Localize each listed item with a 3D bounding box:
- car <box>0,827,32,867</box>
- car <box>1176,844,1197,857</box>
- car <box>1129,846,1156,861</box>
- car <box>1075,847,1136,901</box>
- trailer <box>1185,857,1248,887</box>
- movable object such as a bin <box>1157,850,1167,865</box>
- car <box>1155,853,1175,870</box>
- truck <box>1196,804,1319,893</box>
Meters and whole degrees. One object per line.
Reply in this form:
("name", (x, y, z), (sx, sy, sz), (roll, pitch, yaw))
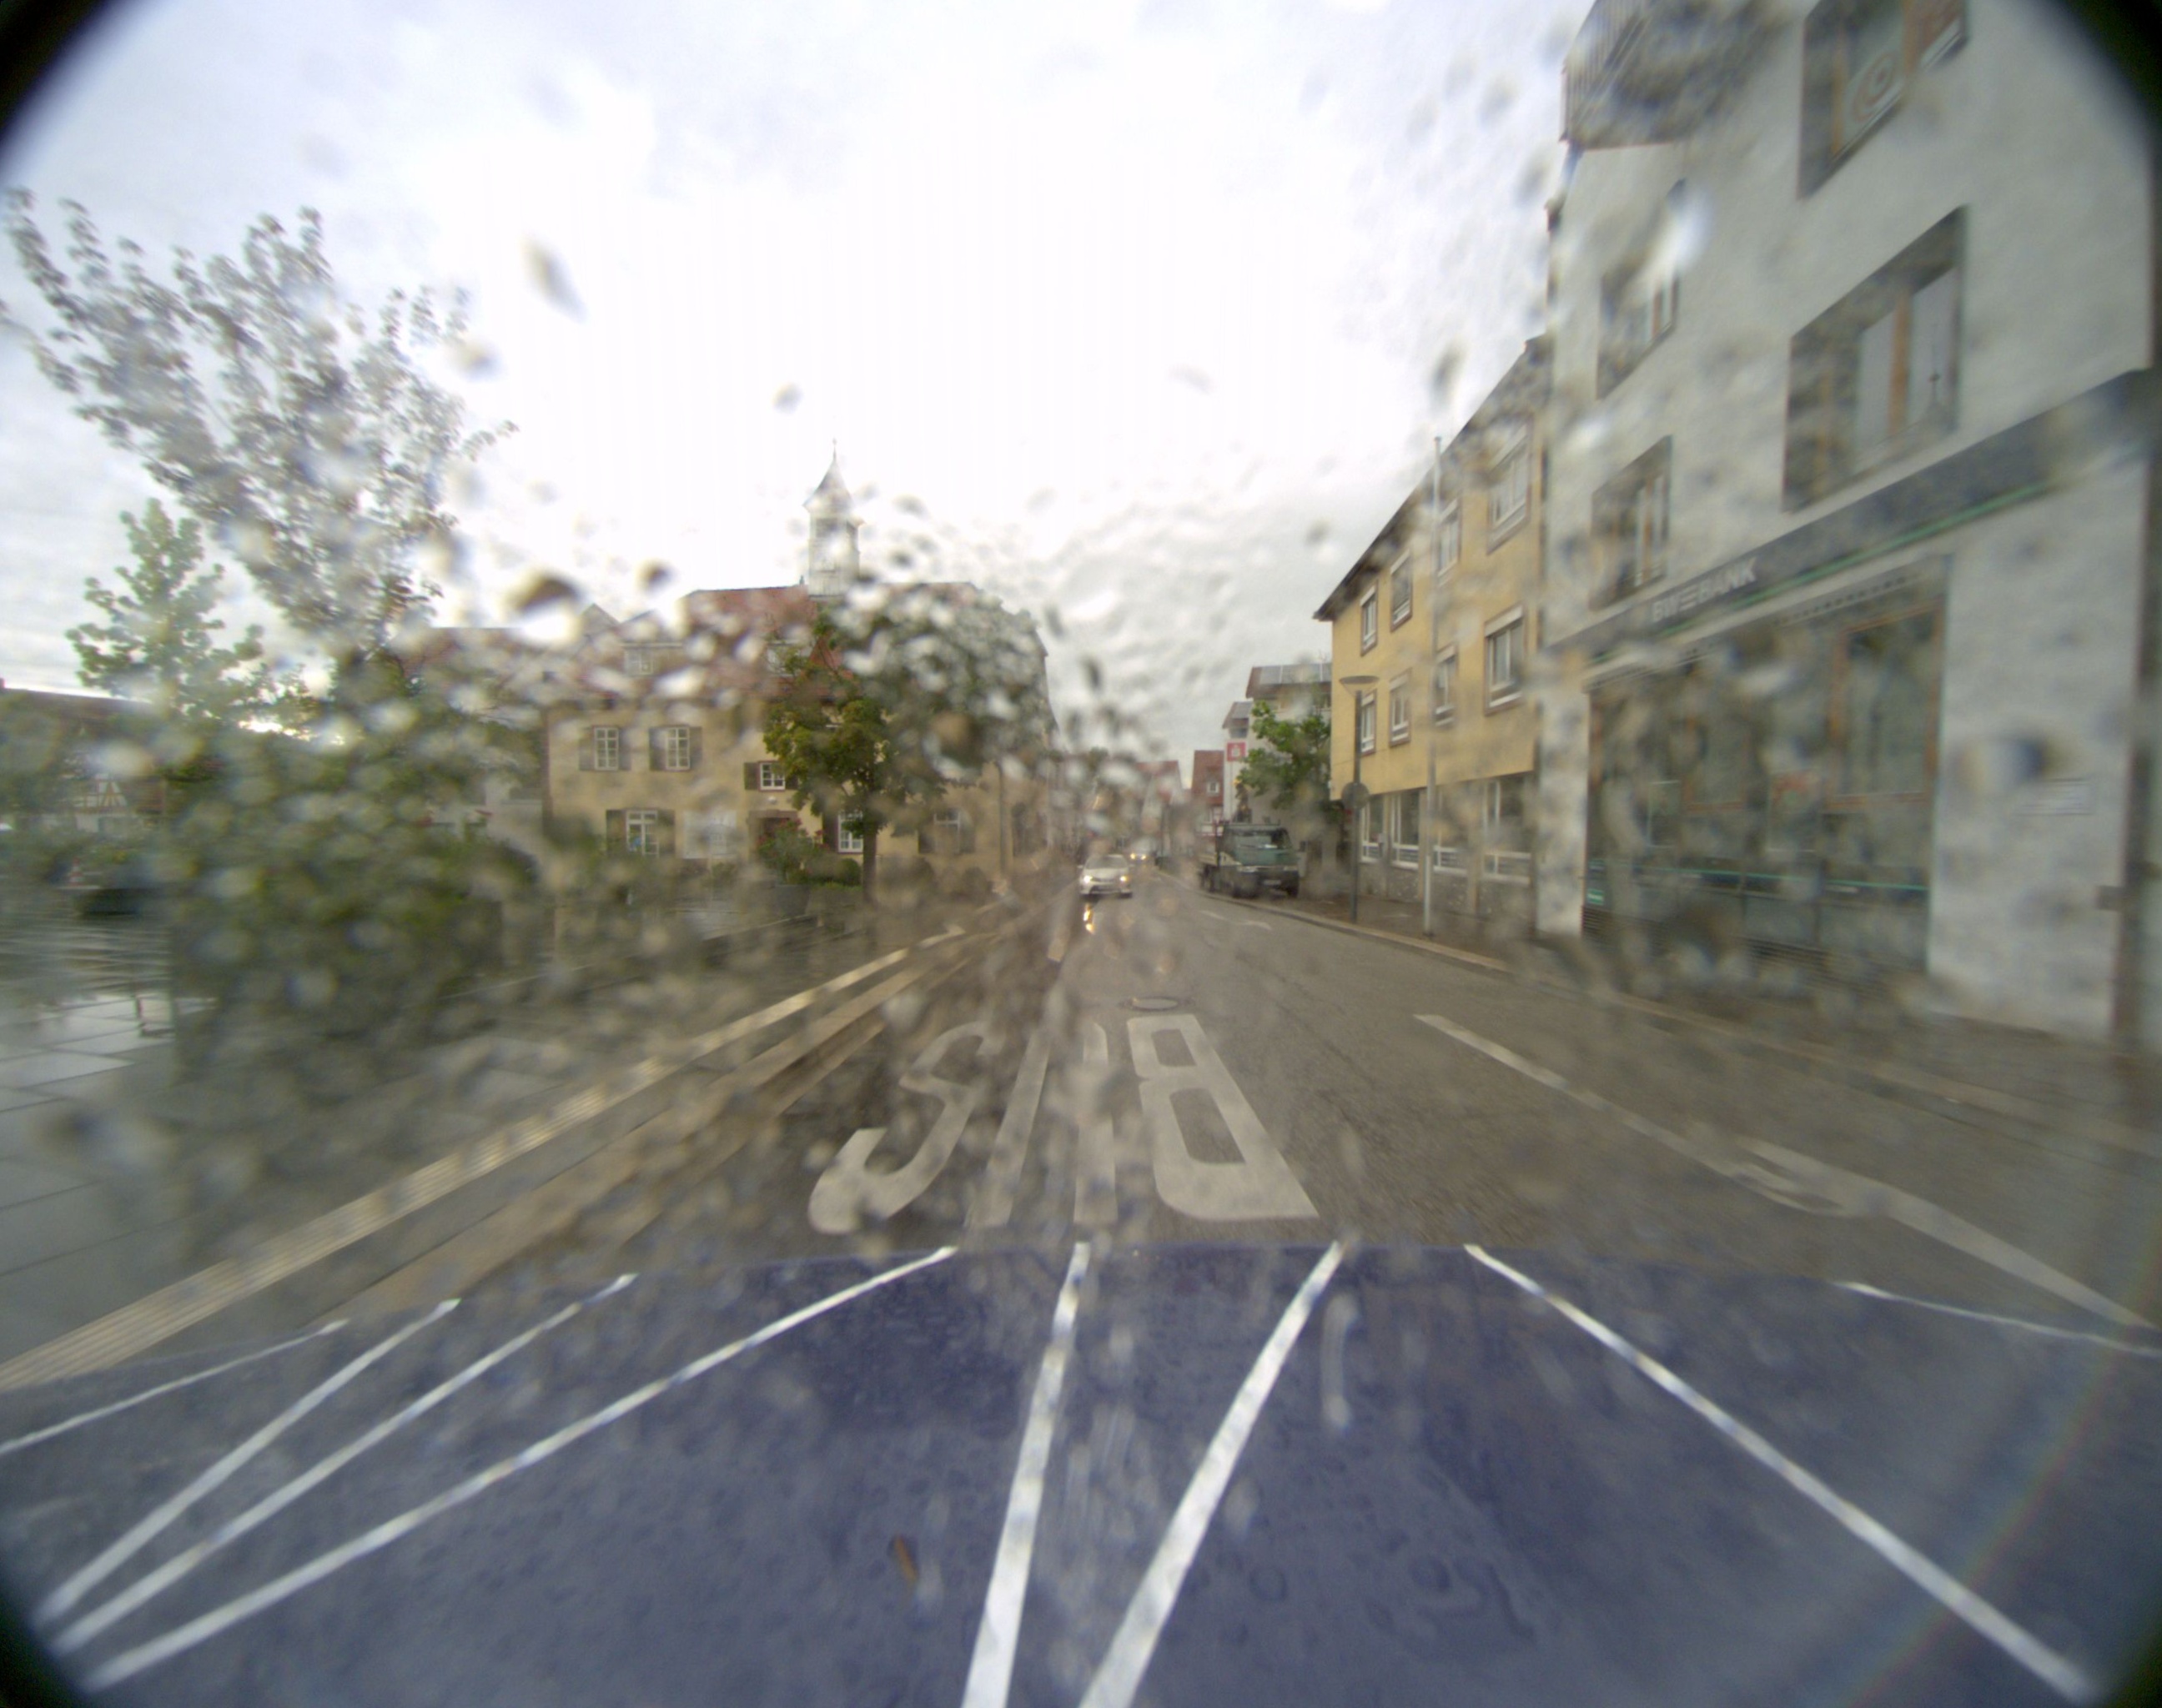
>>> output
("car", (-49.277, -0.285, 32.977), (1.716, 1.762, 4.003), (2, 2, 13))
("car", (12.164, -0.384, 87.444), (1.804, 1.434, 4.004), (0, 2, 18))
("car", (6.463, -0.090, 79.206), (1.865, 1.452, 4.005), (2, 2, 18))
("car", (0.882, 0.615, 26.118), (1.867, 1.578, 4.614), (1, 2, 3))
("trailer", (5.322, 0.696, 30.154), (1.857, 1.118, 3.019), (0, -1, -2))
("movable object such as a bin", (6.141, 0.263, 57.304), (0.697, 1.071, 0.645), (-2, 2, 4))
("car", (8.126, 0.711, 73.607), (1.806, 1.434, 4.001), (-1, 2, 8))
("truck", (5.647, -0.103, 25.411), (2.406, 2.579, 6.482), (0, -1, -2))
